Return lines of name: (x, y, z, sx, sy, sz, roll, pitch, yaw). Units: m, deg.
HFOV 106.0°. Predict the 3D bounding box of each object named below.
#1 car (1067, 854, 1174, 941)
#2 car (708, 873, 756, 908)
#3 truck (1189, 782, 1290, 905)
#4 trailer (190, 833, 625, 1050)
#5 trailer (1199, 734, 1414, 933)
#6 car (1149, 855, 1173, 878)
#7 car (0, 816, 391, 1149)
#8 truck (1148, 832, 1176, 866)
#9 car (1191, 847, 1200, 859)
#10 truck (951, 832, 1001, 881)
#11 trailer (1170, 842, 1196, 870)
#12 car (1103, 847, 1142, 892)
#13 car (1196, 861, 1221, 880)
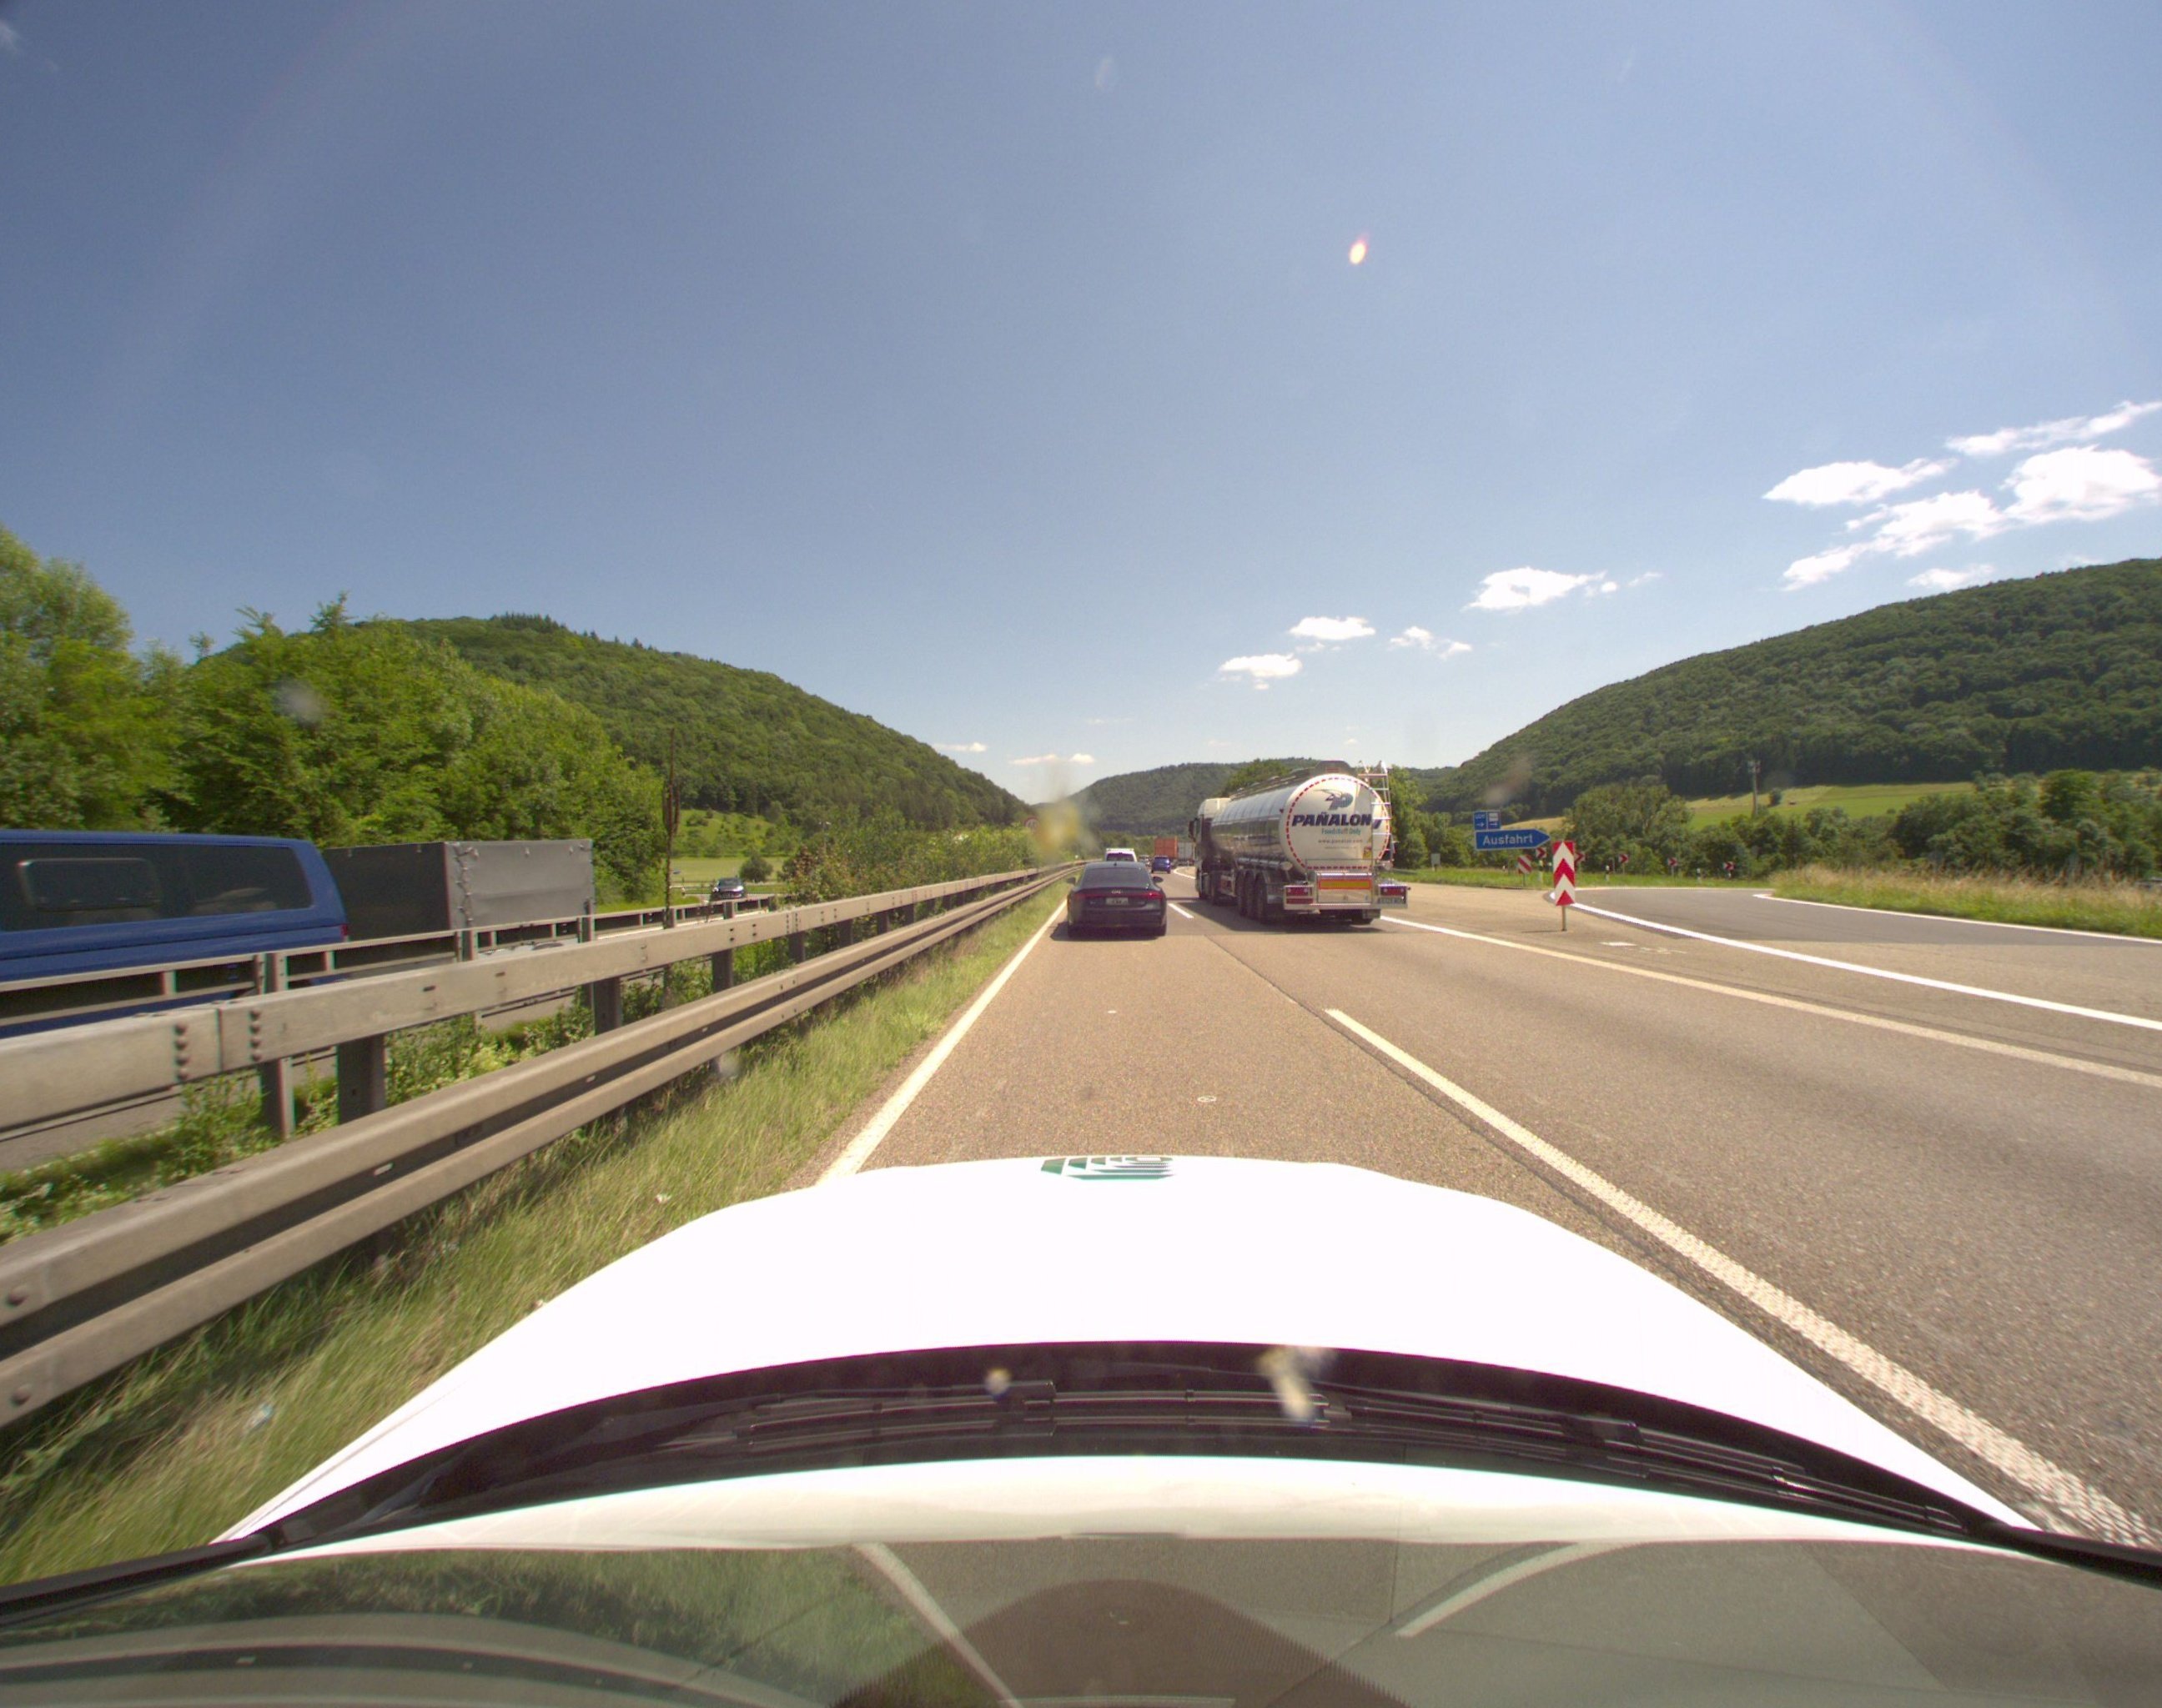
car: (0.669, 0.782, 16.522, 1.844, 1.488, 4.080, -1, 0, -2)
car: (-20.162, 2.041, 47.172, 1.809, 1.838, 3.983, -1, 0, -13)
truck: (5.304, -0.319, 28.077, 2.502, 3.758, 5.247, -1, 0, 1)
trailer: (-7.673, 0.866, 9.895, 2.018, 2.070, 3.829, -1, 0, 1)
trailer: (5.157, -0.364, 21.441, 2.529, 3.735, 11.894, -1, 0, 1)
car: (7.414, 1.157, 75.901, 1.985, 2.002, 4.003, -2, 0, 3)
car: (-7.729, 0.825, 5.473, 1.987, 2.070, 4.838, -1, 0, 1)
truck: (10.479, -0.560, 106.446, 2.806, 4.003, 14.965, -1, 0, 3)
car: (30.270, -0.212, 214.854, 1.985, 2.935, 4.903, -2, 0, 3)
truck: (-9.054, 0.252, 71.620, 2.416, 3.899, 12.285, -1, 0, 1)
trailer: (16.817, 0.318, 134.709, 3.004, 4.382, 10.988, -1, 0, 1)
car: (1.790, 0.662, 35.952, 1.570, 1.833, 4.001, -1, 0, 2)
car: (10.777, 1.356, 69.143, 1.740, 1.530, 4.004, -2, -1, 4)
